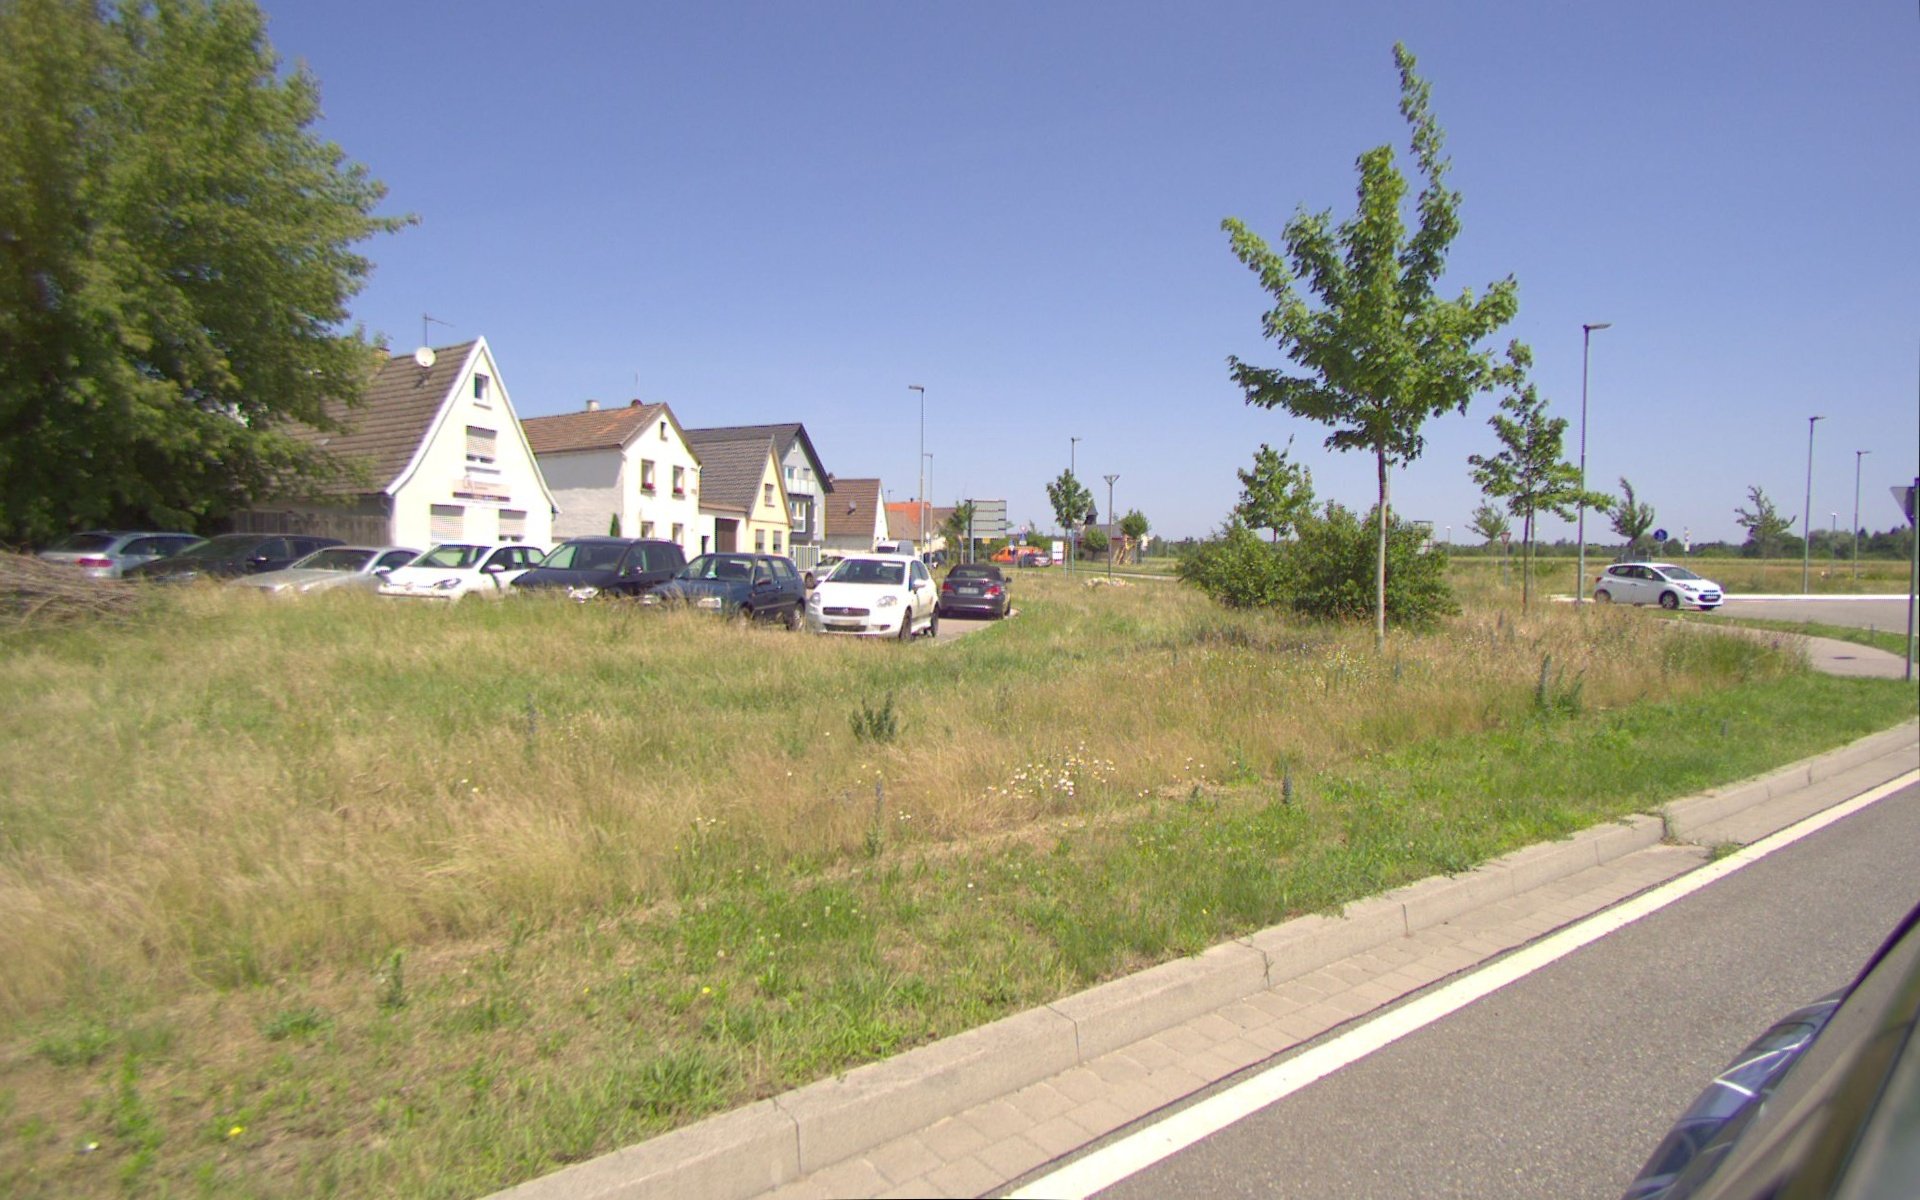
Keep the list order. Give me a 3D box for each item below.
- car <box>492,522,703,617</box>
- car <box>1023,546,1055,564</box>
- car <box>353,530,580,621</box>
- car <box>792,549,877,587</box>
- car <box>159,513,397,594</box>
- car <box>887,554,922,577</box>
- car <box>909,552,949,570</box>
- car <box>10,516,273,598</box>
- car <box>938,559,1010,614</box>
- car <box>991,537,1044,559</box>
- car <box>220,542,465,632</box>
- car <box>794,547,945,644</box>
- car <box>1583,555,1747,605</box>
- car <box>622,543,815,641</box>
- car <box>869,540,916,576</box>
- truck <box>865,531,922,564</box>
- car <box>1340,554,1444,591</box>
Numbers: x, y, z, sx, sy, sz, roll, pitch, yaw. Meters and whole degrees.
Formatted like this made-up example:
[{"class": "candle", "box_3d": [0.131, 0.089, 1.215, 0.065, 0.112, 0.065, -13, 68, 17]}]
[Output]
[{"class": "car", "box_3d": [-6.182, -0.518, 17.768, 1.746, 1.461, 3.955, 1, 1, 10]}, {"class": "car", "box_3d": [7.344, -4.214, 94.530, 1.859, 1.636, 4.009, 0, 2, -12]}, {"class": "car", "box_3d": [-8.842, -0.438, 18.550, 1.746, 1.461, 3.955, 1, 1, 10]}, {"class": "car", "box_3d": [-5.111, -1.325, 40.944, 1.621, 1.410, 3.998, -1, 3, -38]}, {"class": "car", "box_3d": [-13.580, -0.889, 20.456, 1.745, 1.461, 3.955, 1, 1, 10]}, {"class": "car", "box_3d": [-3.843, -2.412, 70.510, 1.823, 1.514, 3.995, 1, 3, 7]}, {"class": "car", "box_3d": [-2.434, -3.134, 80.537, 1.834, 1.367, 3.738, 2, 3, 24]}, {"class": "car", "box_3d": [-16.147, -0.808, 20.251, 1.745, 1.461, 3.955, 1, 1, 10]}, {"class": "car", "box_3d": [0.443, -0.411, 27.012, 1.716, 1.327, 3.998, 1, 3, 4]}, {"class": "car", "box_3d": [7.049, -6.448, 124.817, 6.068, 2.615, 2.339, 2, 2, 23]}, {"class": "car", "box_3d": [-11.264, -0.256, 18.818, 1.745, 1.461, 3.956, 1, 1, 9]}, {"class": "car", "box_3d": [-1.422, -0.162, 17.408, 1.718, 1.445, 3.992, 1, 3, 8]}, {"class": "car", "box_3d": [24.429, -0.755, 35.306, 1.830, 1.580, 4.532, -1, 3, -15]}, {"class": "car", "box_3d": [-3.949, -0.162, 17.236, 1.746, 1.461, 3.955, 1, 1, 10]}, {"class": "car", "box_3d": [-3.603, -2.289, 54.676, 1.823, 1.852, 3.994, 1, 3, 7]}, {"class": "truck", "box_3d": [-5.229, -4.151, 80.909, 2.213, 2.536, 5.592, 2, 3, 24]}, {"class": "car", "box_3d": [19.714, -1.287, 46.303, 1.688, 1.580, 4.155, -2, 4, -32]}]
